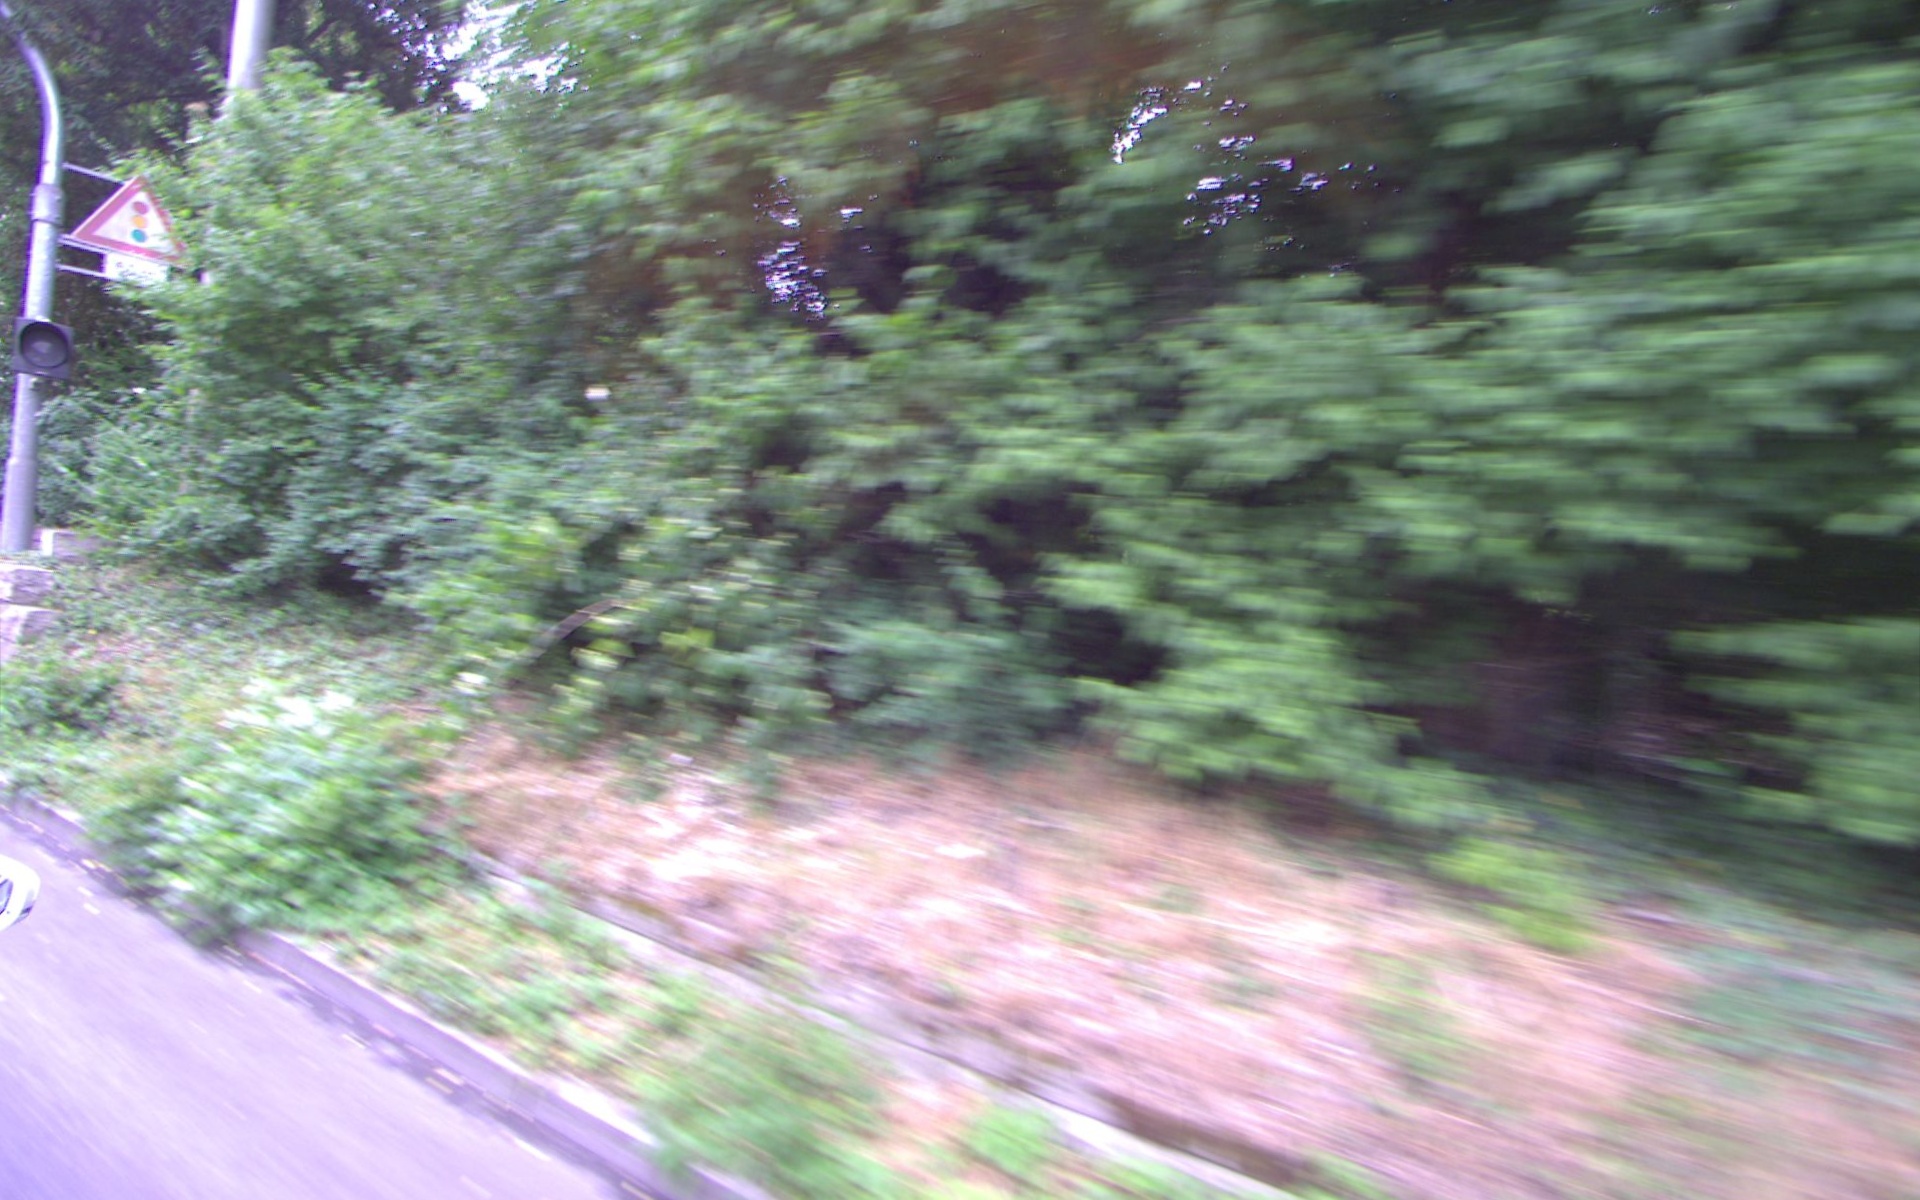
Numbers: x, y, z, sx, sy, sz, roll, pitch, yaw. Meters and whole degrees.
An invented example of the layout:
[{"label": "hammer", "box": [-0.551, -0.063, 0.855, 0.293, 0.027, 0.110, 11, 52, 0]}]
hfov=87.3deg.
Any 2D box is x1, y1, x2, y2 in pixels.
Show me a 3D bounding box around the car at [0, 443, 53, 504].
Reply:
[{"label": "car", "box": [-32.270, -4.325, 32.340, 1.795, 1.786, 4.667, 10, 1, 0]}]
